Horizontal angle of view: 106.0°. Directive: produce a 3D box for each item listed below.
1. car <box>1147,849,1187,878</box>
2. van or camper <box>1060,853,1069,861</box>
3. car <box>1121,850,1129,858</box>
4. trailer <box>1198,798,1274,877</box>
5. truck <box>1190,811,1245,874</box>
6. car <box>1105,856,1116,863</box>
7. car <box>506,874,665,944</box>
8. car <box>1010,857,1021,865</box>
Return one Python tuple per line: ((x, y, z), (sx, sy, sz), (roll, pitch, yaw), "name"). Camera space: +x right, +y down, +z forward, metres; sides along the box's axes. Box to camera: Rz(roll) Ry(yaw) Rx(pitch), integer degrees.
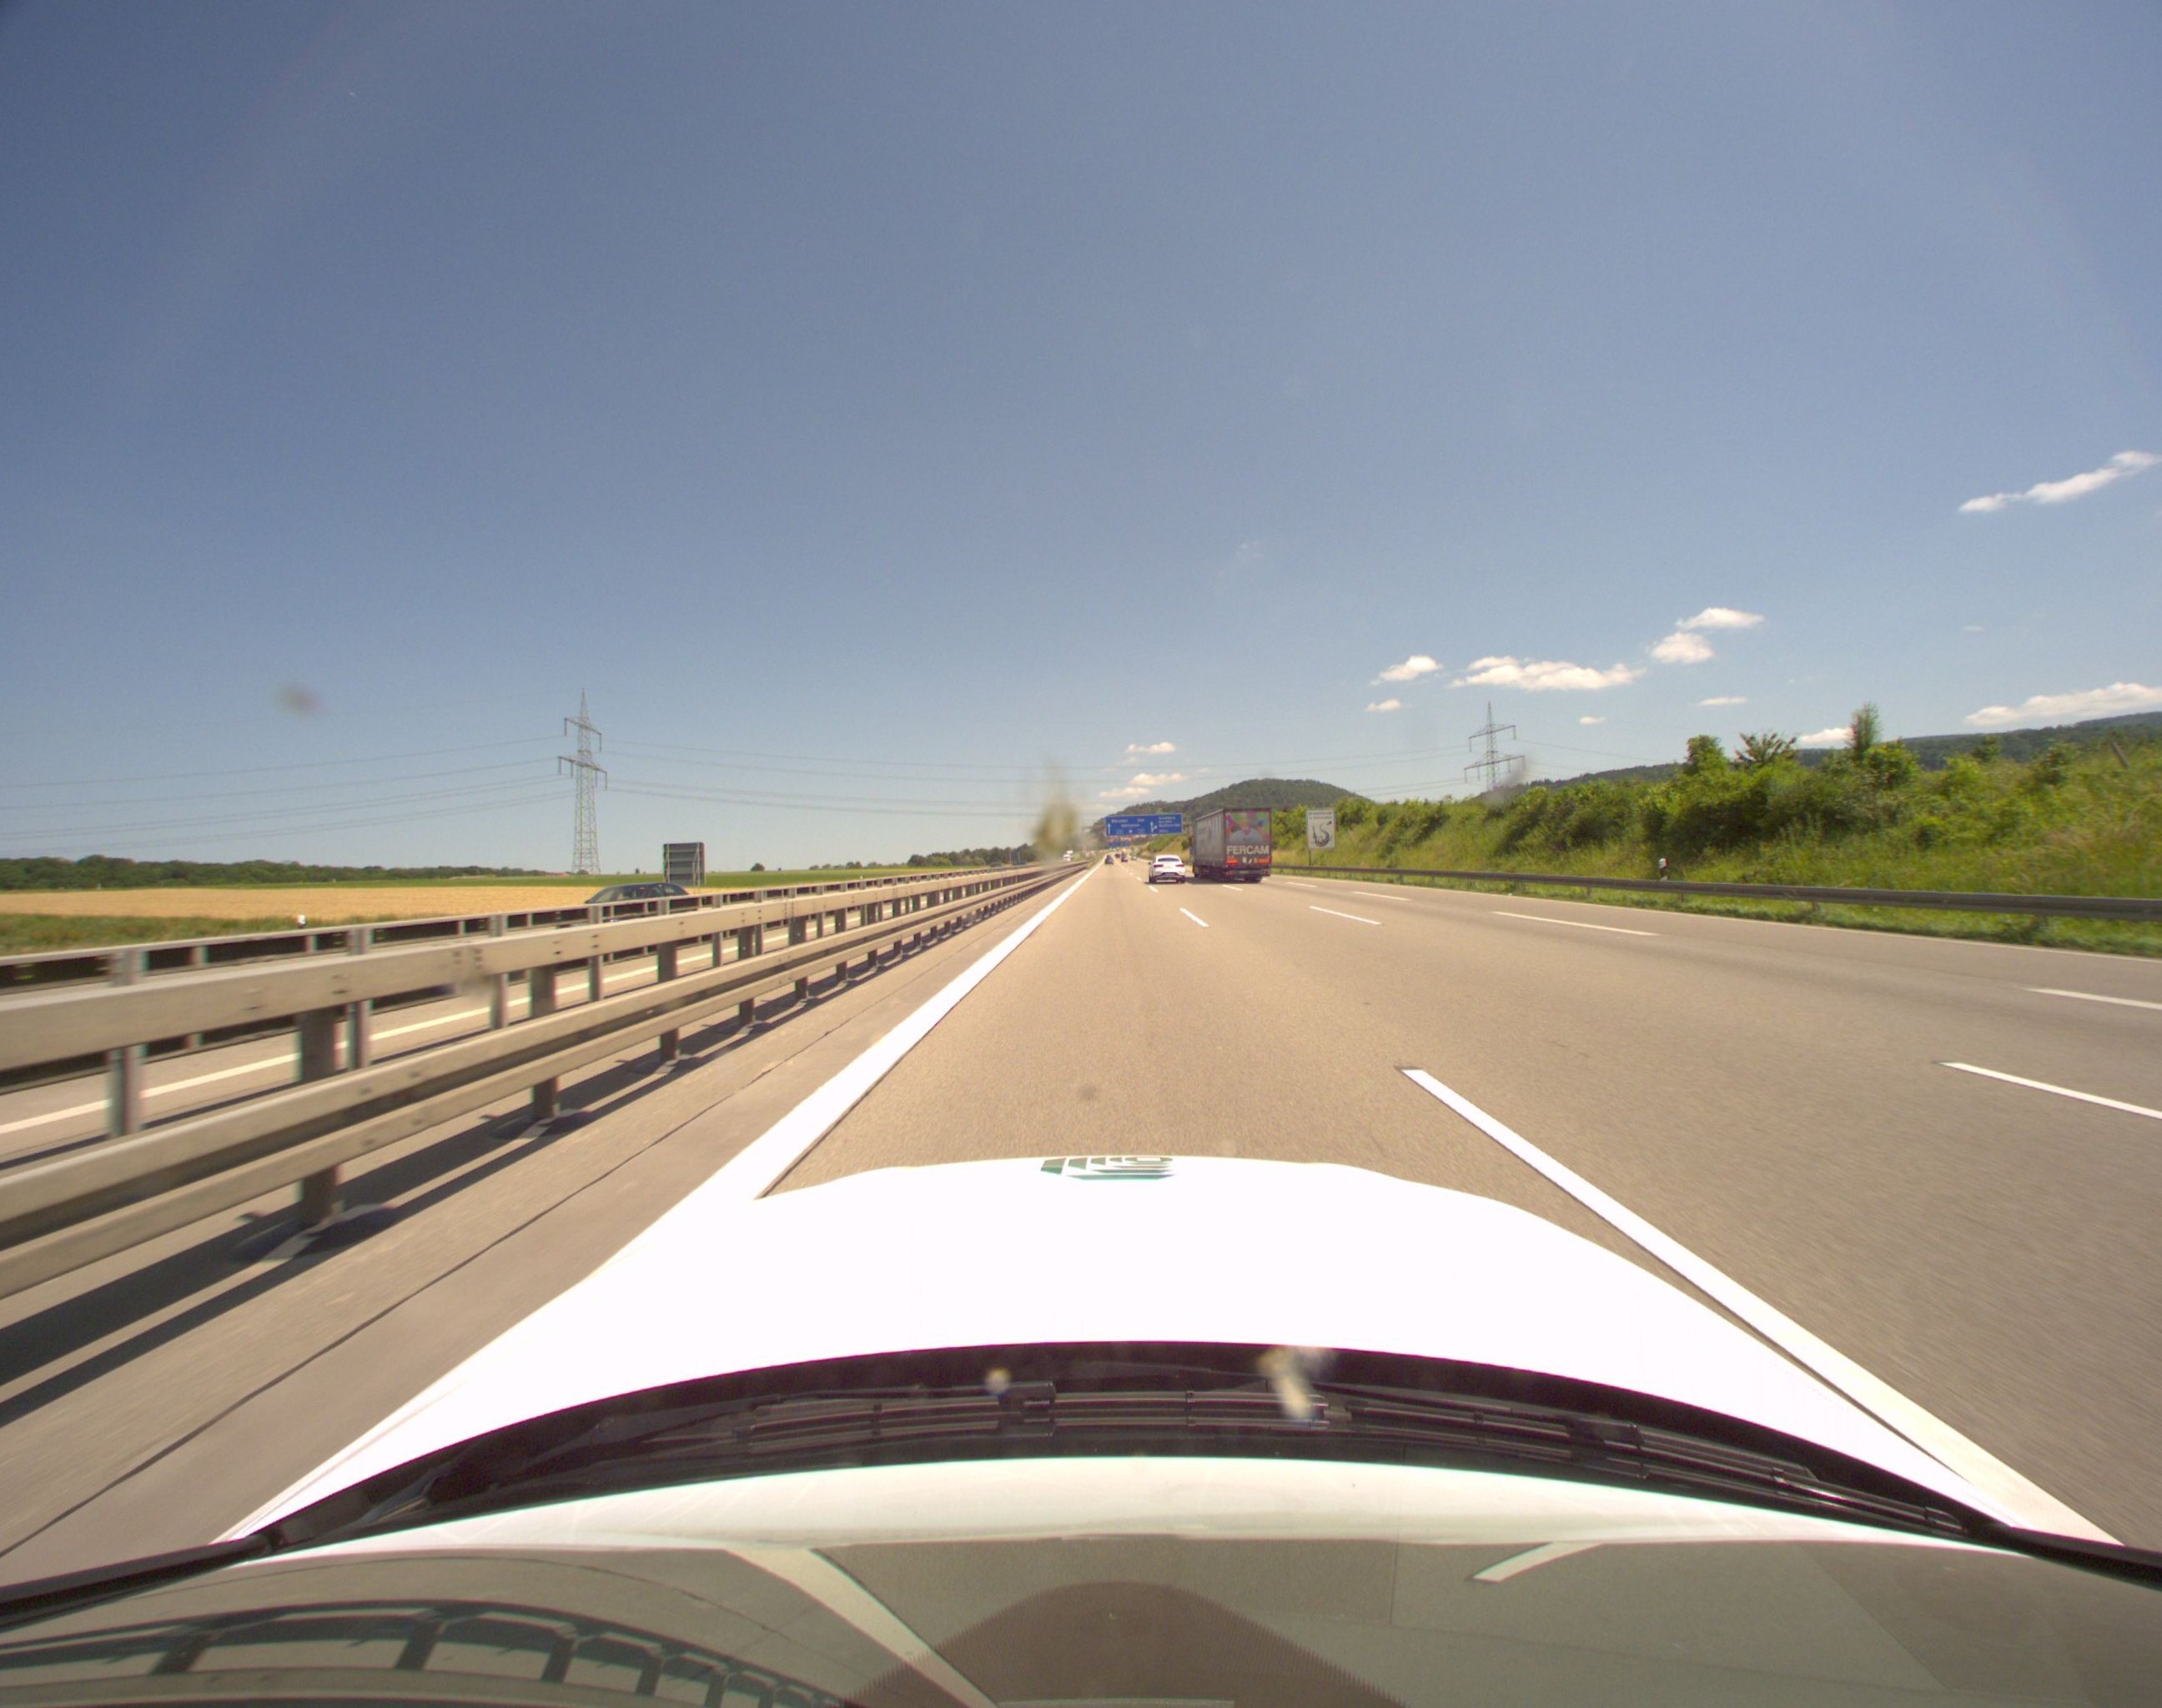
((4.904, 0.529, 46.888), (1.907, 1.581, 5.232), (-1, 0, 2), "car")
((-4.972, 0.865, 248.182), (2.219, 2.509, 6.600), (-1, 0, 2), "van or camper")
((10.777, -0.059, 199.799), (1.985, 2.014, 4.002), (-1, 0, 2), "car")
((8.995, -0.814, 48.753), (2.715, 4.155, 11.813), (-1, 0, 2), "trailer")
((9.228, -0.725, 55.725), (2.742, 4.020, 6.790), (-1, -1, 1), "truck")
((5.697, 1.101, 157.803), (1.985, 1.389, 4.002), (-1, 0, 2), "car")
((-11.557, 1.222, 19.287), (1.477, 1.425, 3.610), (-1, 0, 2), "car")
((-11.869, 1.288, 148.223), (1.567, 1.306, 4.043), (-3, 0, 2), "car")
